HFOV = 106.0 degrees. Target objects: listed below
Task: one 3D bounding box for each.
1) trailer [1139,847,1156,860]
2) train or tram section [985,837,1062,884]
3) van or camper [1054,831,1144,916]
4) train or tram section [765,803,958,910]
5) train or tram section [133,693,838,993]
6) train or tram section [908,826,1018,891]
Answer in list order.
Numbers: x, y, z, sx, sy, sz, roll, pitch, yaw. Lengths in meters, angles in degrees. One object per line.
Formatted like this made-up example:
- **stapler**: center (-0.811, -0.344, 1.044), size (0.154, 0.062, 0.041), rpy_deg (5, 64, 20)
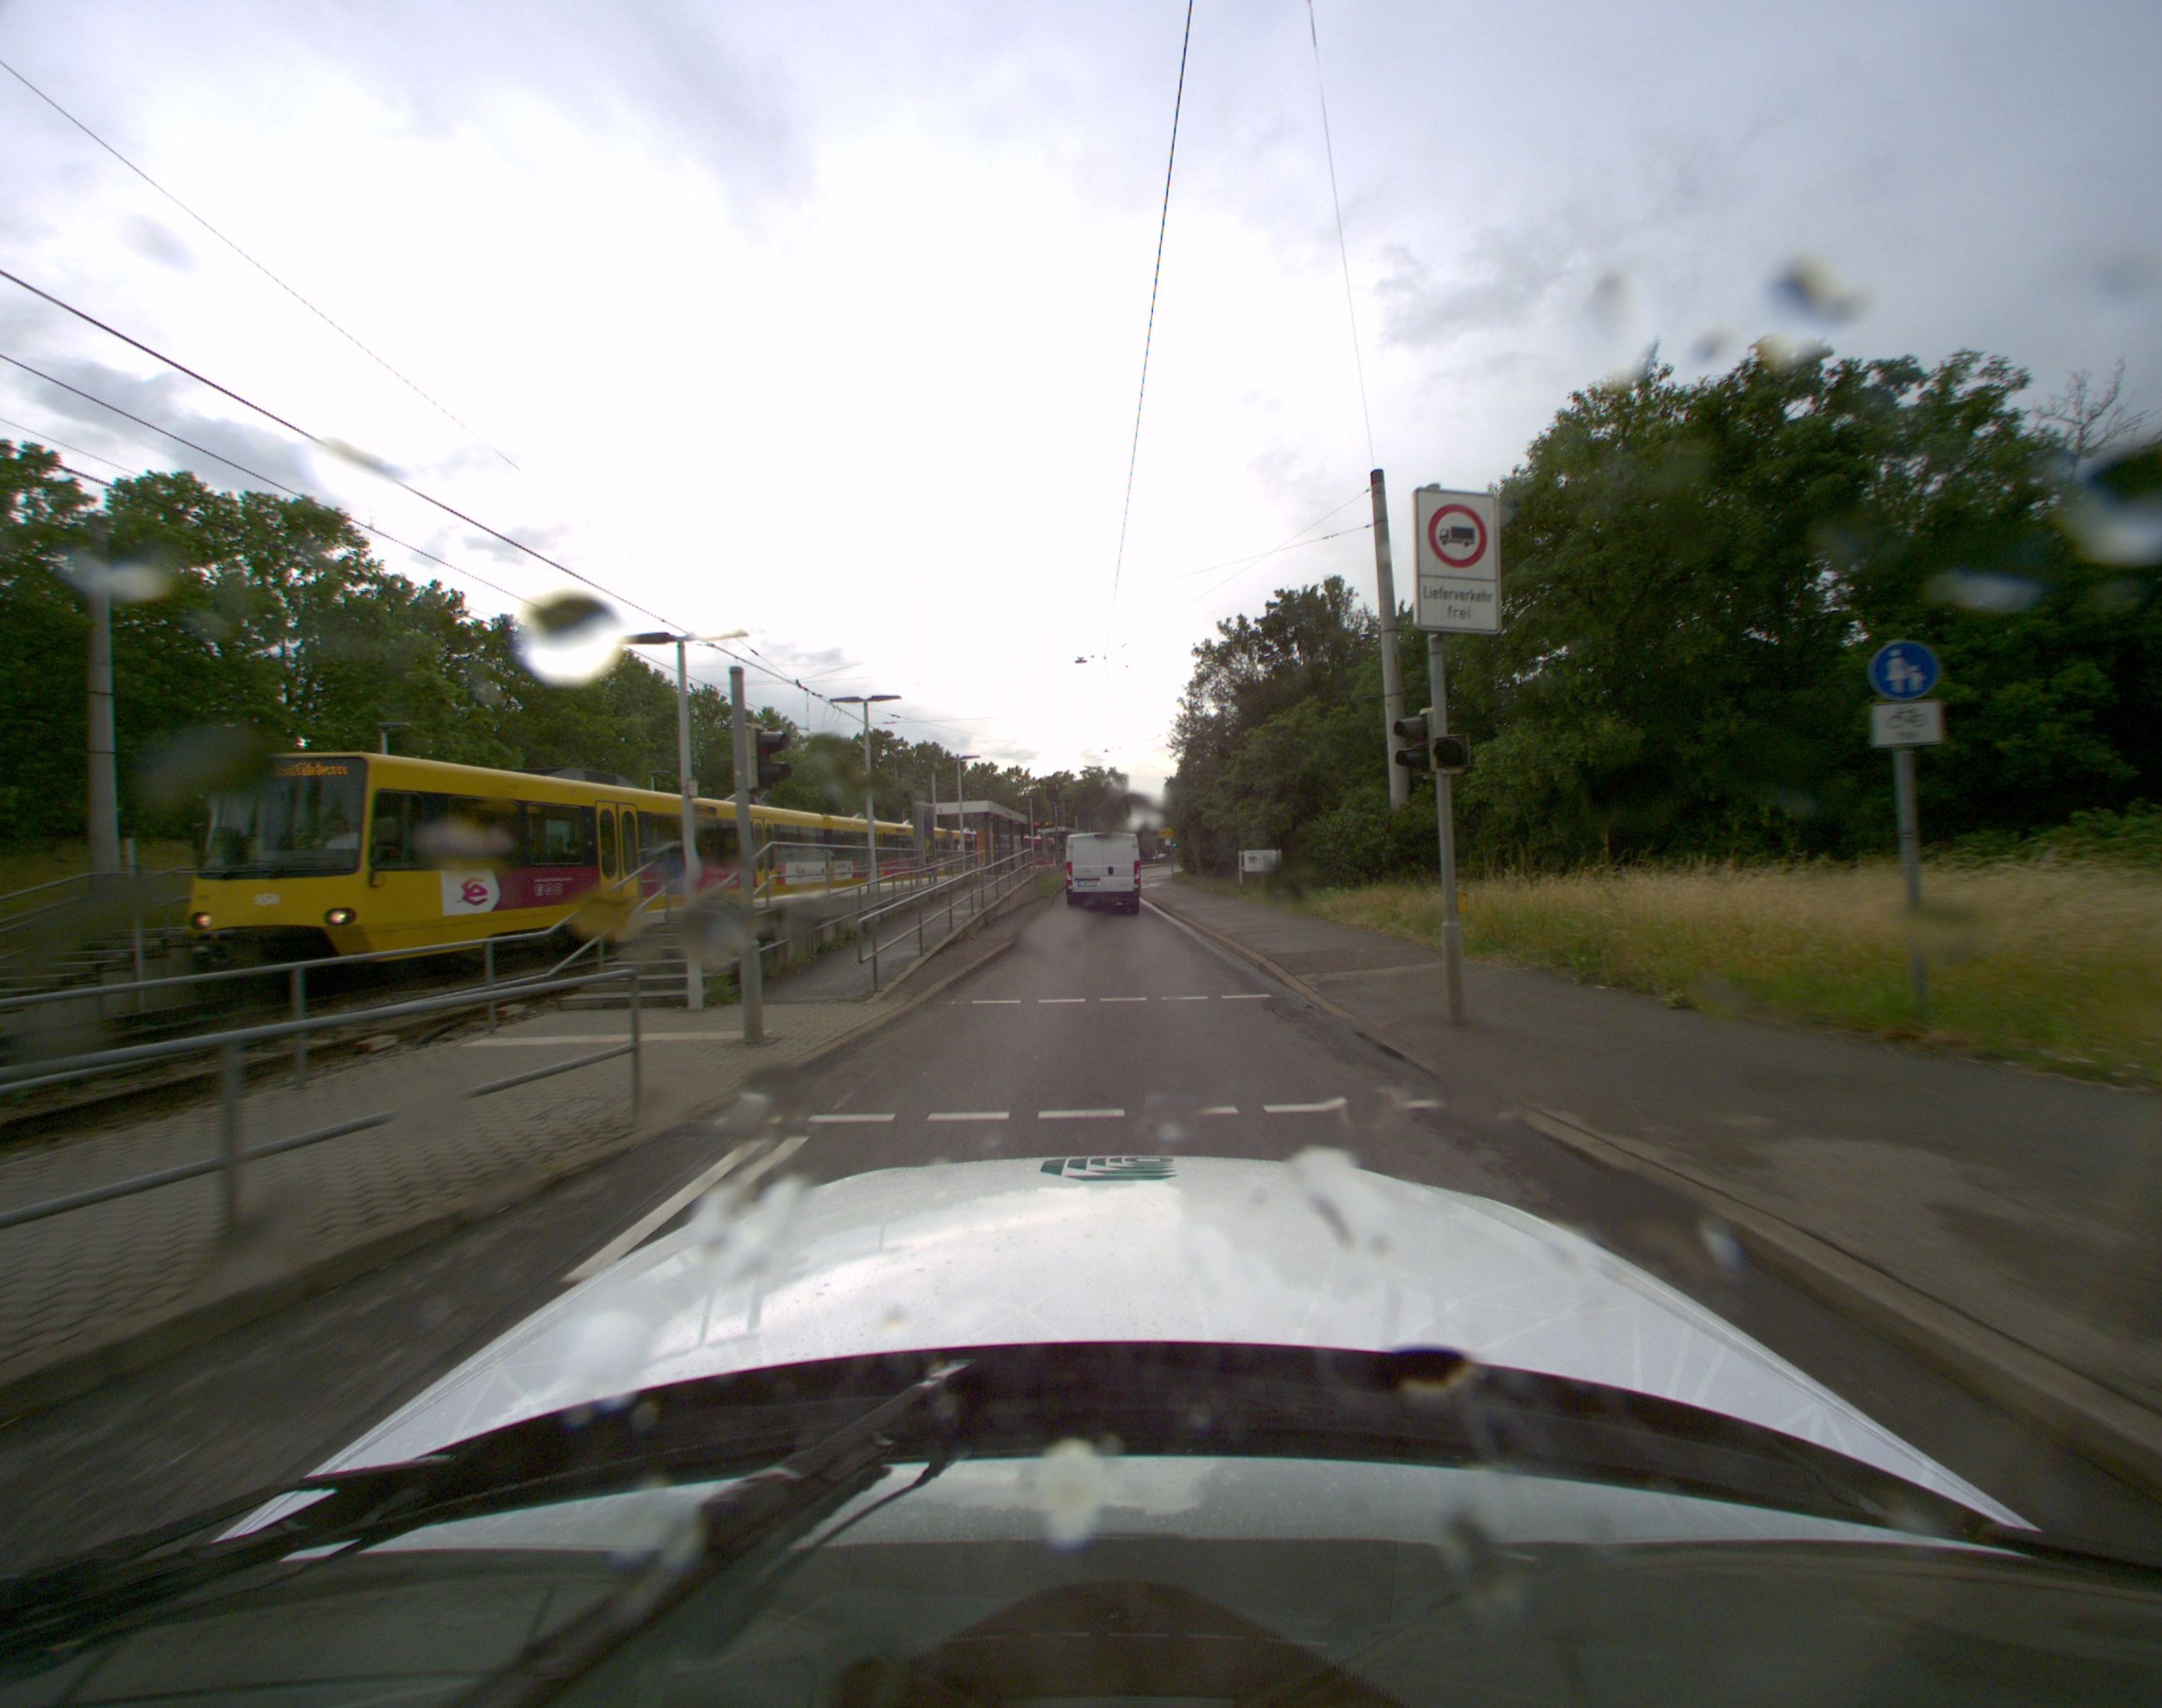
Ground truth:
- **trailer**: center (13.728, -0.103, 168.397), size (1.997, 2.725, 4.101), rpy_deg (-1, -1, -16)
- **train or tram section**: center (-5.142, 0.662, 78.450), size (2.850, 3.961, 19.381), rpy_deg (0, -1, 10)
- **van or camper**: center (0.397, 0.544, 24.046), size (2.195, 2.253, 4.675), rpy_deg (0, -1, -5)
- **train or tram section**: center (-9.625, 0.221, 39.914), size (2.855, 3.954, 19.352), rpy_deg (0, -1, 4)
- **train or tram section**: center (-10.808, -0.017, 20.501), size (2.857, 3.973, 19.339), rpy_deg (0, -1, 2)
- **train or tram section**: center (-7.913, 0.419, 59.185), size (2.852, 3.971, 19.368), rpy_deg (0, -1, 7)
